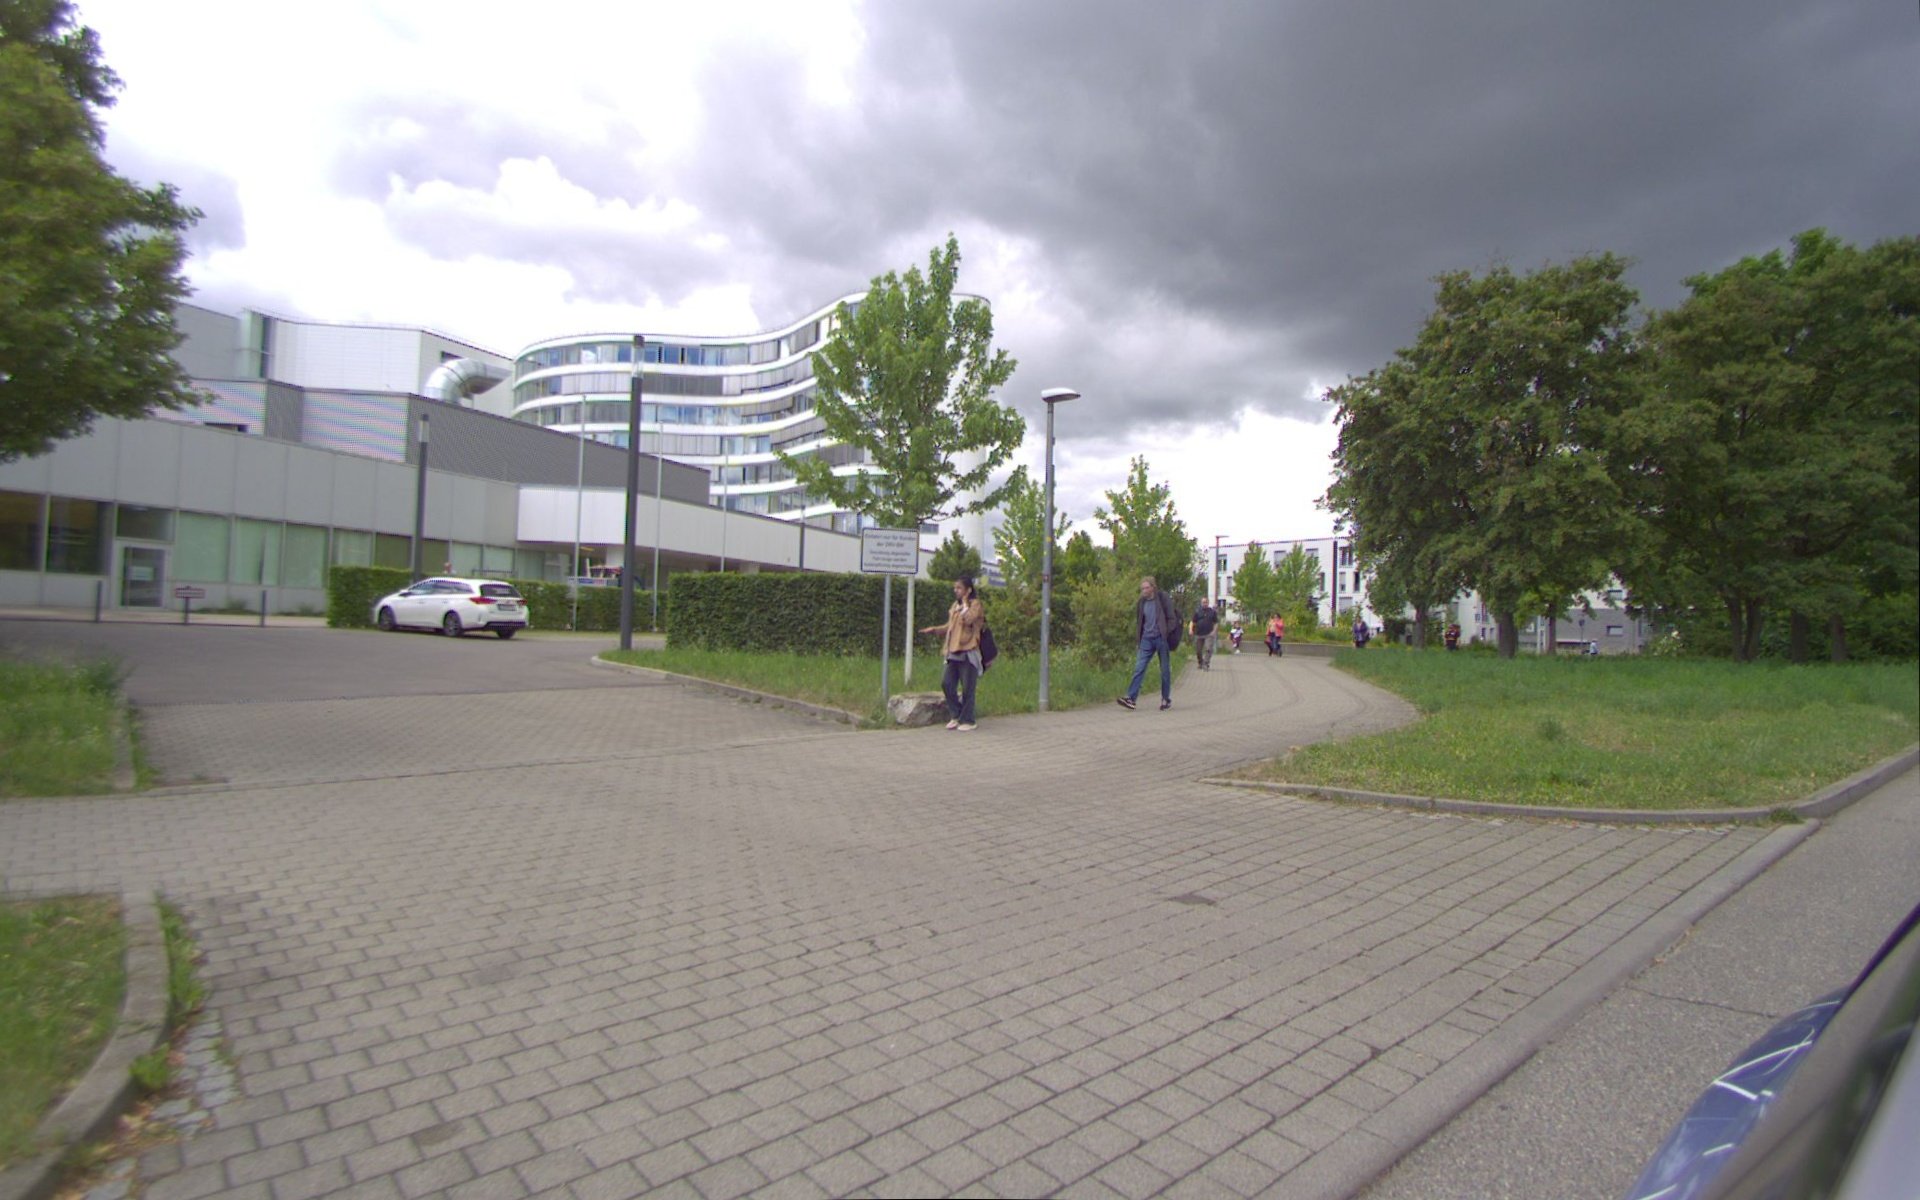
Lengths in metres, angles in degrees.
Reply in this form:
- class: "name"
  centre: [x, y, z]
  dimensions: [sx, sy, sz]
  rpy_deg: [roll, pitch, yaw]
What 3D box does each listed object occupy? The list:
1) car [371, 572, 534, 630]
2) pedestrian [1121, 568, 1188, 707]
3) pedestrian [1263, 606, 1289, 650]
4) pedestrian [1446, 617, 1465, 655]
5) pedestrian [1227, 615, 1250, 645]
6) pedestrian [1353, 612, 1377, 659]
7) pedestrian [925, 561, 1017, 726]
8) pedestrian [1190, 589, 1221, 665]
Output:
- class: "car"
  centre: [-13.074, 0.013, 26.031]
  dimensions: [4.079, 1.408, 1.693]
  rpy_deg: [0, 0, 27]
- class: "pedestrian"
  centre: [2.542, 0.466, 13.168]
  dimensions: [0.753, 1.744, 0.881]
  rpy_deg: [0, -1, 18]
- class: "pedestrian"
  centre: [11.115, 0.979, 35.603]
  dimensions: [0.673, 1.526, 0.657]
  rpy_deg: [0, -1, 43]
- class: "pedestrian"
  centre: [19.258, 1.398, 39.317]
  dimensions: [0.669, 1.433, 0.661]
  rpy_deg: [0, -1, 27]
- class: "pedestrian"
  centre: [10.948, 1.182, 39.766]
  dimensions: [0.673, 1.156, 0.657]
  rpy_deg: [0, -1, 43]
- class: "pedestrian"
  centre: [14.291, 1.241, 35.711]
  dimensions: [0.670, 1.627, 0.660]
  rpy_deg: [0, -1, 32]
- class: "pedestrian"
  centre: [0.130, 0.447, 10.951]
  dimensions: [0.646, 1.690, 0.889]
  rpy_deg: [0, -1, 28]
- class: "pedestrian"
  centre: [5.479, 0.586, 22.592]
  dimensions: [0.630, 1.665, 0.600]
  rpy_deg: [0, -1, 19]
